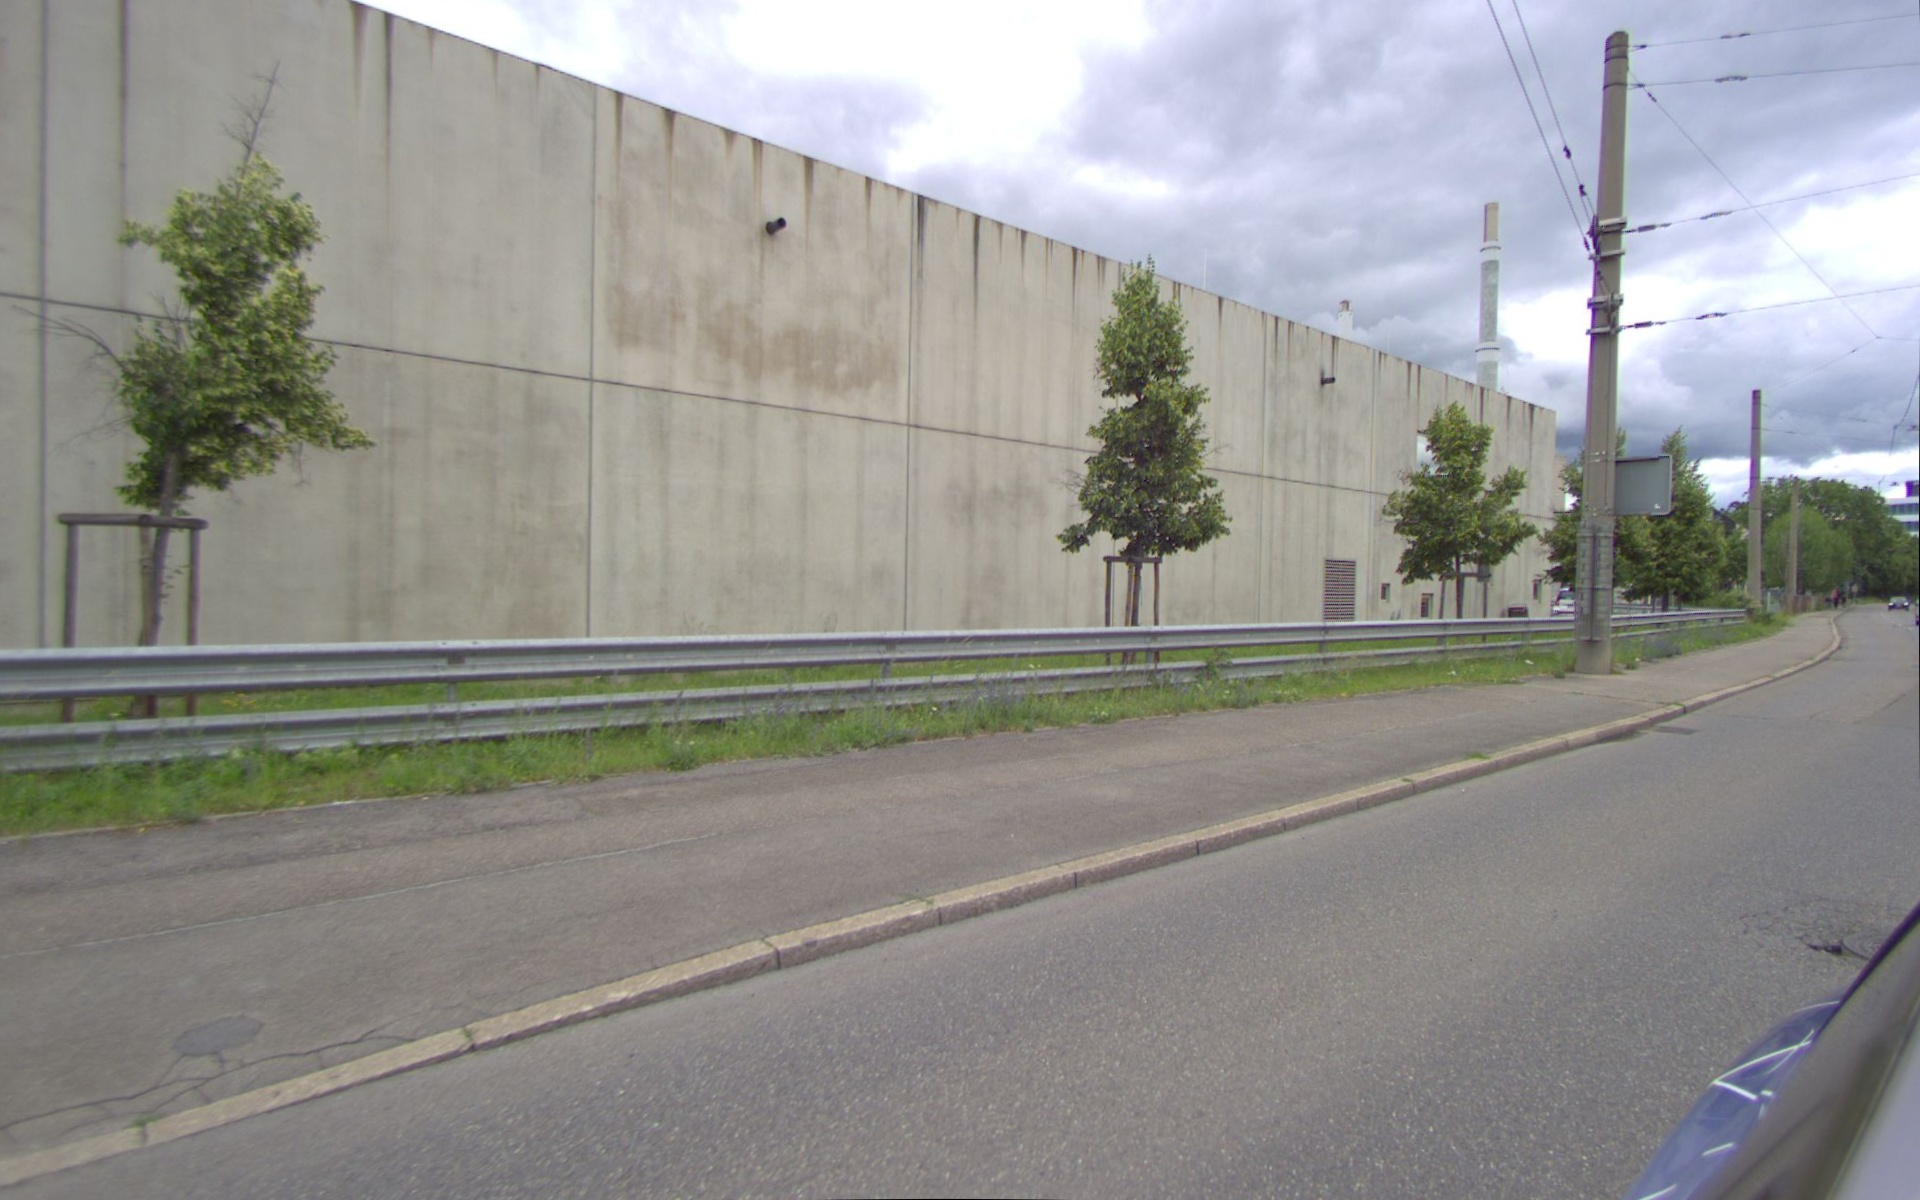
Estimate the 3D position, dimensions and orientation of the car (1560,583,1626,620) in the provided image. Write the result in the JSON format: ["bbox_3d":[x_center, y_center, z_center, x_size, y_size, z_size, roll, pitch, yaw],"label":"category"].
[{"bbox_3d":[28.870,0.066,46.083,1.749,1.594,4.361,0,0,43],"label":"car"}]
